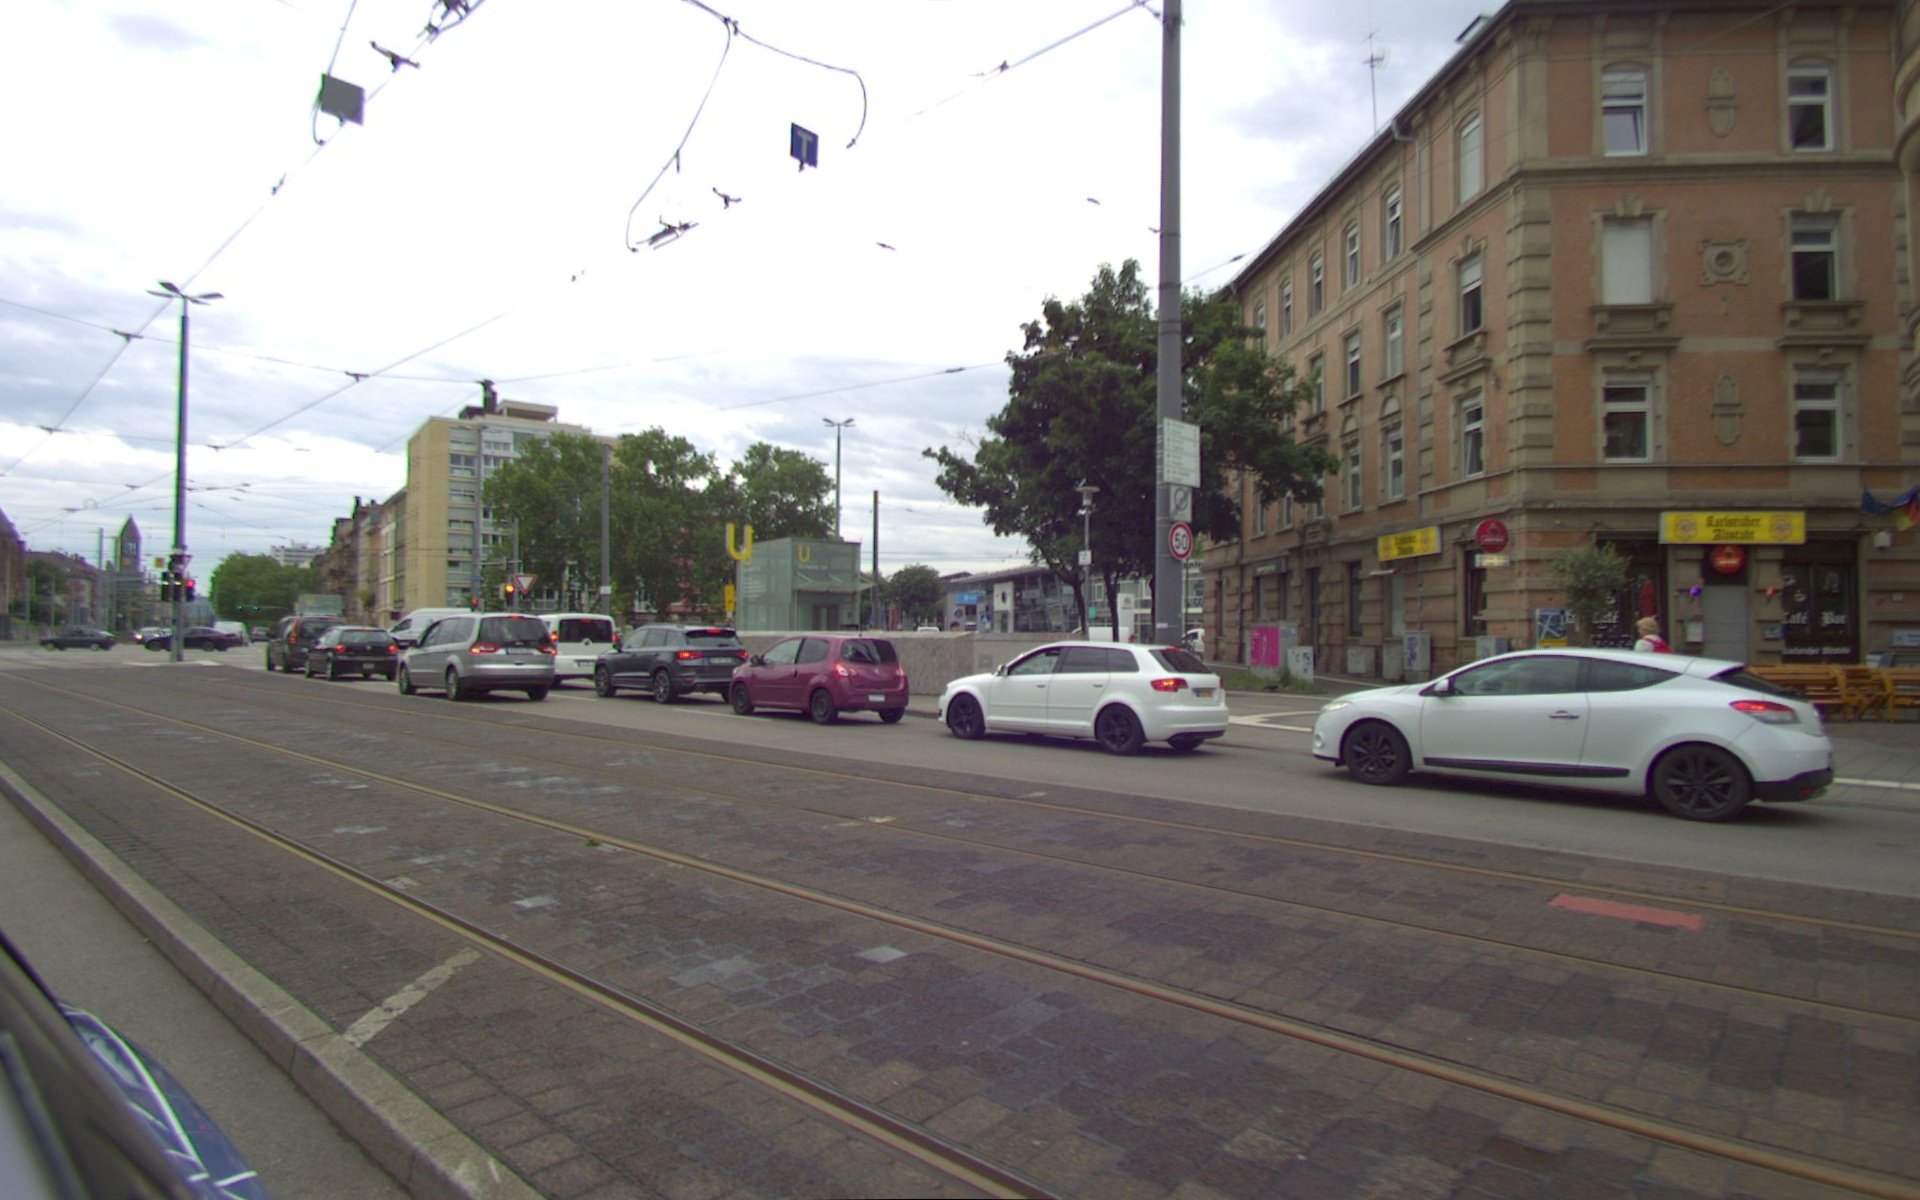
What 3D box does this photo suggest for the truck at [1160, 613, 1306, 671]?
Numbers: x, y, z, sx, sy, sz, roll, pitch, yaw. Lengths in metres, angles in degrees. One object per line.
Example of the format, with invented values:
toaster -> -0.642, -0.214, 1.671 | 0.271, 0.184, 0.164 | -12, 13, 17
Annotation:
truck -> 17.929, 2.713, 67.083 | 9.126, 3.576, 2.793 | 1, -1, 12

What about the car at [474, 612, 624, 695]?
car -> -10.724, 1.334, 26.197 | 1.841, 1.931, 5.105 | 2, -3, -44

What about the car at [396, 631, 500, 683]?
car -> -15.734, 1.701, 31.010 | 1.669, 1.453, 4.002 | 2, -3, -44

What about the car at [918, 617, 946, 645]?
car -> -2.189, 2.362, 77.838 | 1.744, 2.029, 4.006 | 1, -1, -7

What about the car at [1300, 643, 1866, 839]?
car -> 5.679, 1.124, 9.610 | 4.259, 1.390, 1.904 | -2, -3, 45

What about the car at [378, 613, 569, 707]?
car -> -10.133, 1.199, 20.875 | 4.909, 1.719, 1.842 | -2, -4, 43

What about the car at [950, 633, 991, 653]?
car -> 1.097, 4.574, 107.103 | 3.932, 2.029, 2.006 | 1, -1, -16

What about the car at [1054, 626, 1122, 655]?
car -> 8.560, 2.694, 67.725 | 4.470, 1.853, 1.995 | 0, -2, 8

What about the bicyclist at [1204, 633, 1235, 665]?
bicyclist -> 13.372, 2.515, 52.068 | 1.299, 1.633, 0.832 | 1, -3, -23

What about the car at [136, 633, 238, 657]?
car -> -47.032, 2.761, 61.658 | 4.589, 1.431, 2.003 | 0, -2, -7

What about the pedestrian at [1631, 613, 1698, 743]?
pedestrian -> 9.659, 1.049, 13.895 | 0.628, 1.732, 0.528 | -1, -2, 23

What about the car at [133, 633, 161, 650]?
car -> -73.952, 3.766, 92.071 | 1.968, 1.453, 4.007 | 2, -3, -39

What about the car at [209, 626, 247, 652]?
car -> -57.863, 3.071, 80.043 | 1.890, 1.896, 5.104 | 2, -1, -30

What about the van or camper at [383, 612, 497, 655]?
van or camper -> -33.053, 2.135, 64.513 | 5.956, 2.631, 2.427 | 1, -1, -8

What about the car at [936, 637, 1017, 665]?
car -> 1.158, 3.423, 68.557 | 5.379, 1.870, 2.160 | 0, -2, 6

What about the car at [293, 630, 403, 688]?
car -> -16.734, 1.570, 27.602 | 1.669, 1.453, 4.002 | 2, -3, -44

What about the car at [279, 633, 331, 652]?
car -> -66.679, 4.290, 103.090 | 2.065, 1.769, 3.975 | 0, -1, 19

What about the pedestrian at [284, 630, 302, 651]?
pedestrian -> -58.757, 3.557, 89.113 | 1.162, 1.798, 1.042 | 2, -3, -41

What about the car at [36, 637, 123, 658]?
car -> -54.726, 2.965, 62.959 | 3.673, 1.256, 1.697 | 1, -2, -22

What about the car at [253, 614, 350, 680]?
car -> -20.709, 1.440, 31.751 | 1.669, 1.915, 4.389 | 2, -3, -44

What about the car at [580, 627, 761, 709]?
car -> -6.192, 1.390, 21.348 | 1.841, 1.546, 4.306 | 5, -5, -44

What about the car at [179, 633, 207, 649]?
car -> -71.332, 3.796, 94.095 | 1.968, 1.453, 4.007 | 2, -3, -39

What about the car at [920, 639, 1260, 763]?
car -> 1.621, 1.272, 13.680 | 4.362, 1.390, 1.727 | -2, -5, 43

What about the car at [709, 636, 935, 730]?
car -> -2.456, 1.361, 17.419 | 1.841, 1.410, 3.897 | 5, -5, -45

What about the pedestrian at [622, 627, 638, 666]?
pedestrian -> -14.877, 2.077, 45.669 | 0.592, 1.741, 0.915 | 1, -2, -23

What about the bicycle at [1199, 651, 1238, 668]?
bicycle -> 13.301, 3.049, 52.059 | 2.037, 0.855, 0.560 | 1, -3, -23

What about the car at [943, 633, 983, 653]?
car -> 0.300, 4.637, 109.513 | 3.932, 2.029, 2.006 | 1, -1, -16
